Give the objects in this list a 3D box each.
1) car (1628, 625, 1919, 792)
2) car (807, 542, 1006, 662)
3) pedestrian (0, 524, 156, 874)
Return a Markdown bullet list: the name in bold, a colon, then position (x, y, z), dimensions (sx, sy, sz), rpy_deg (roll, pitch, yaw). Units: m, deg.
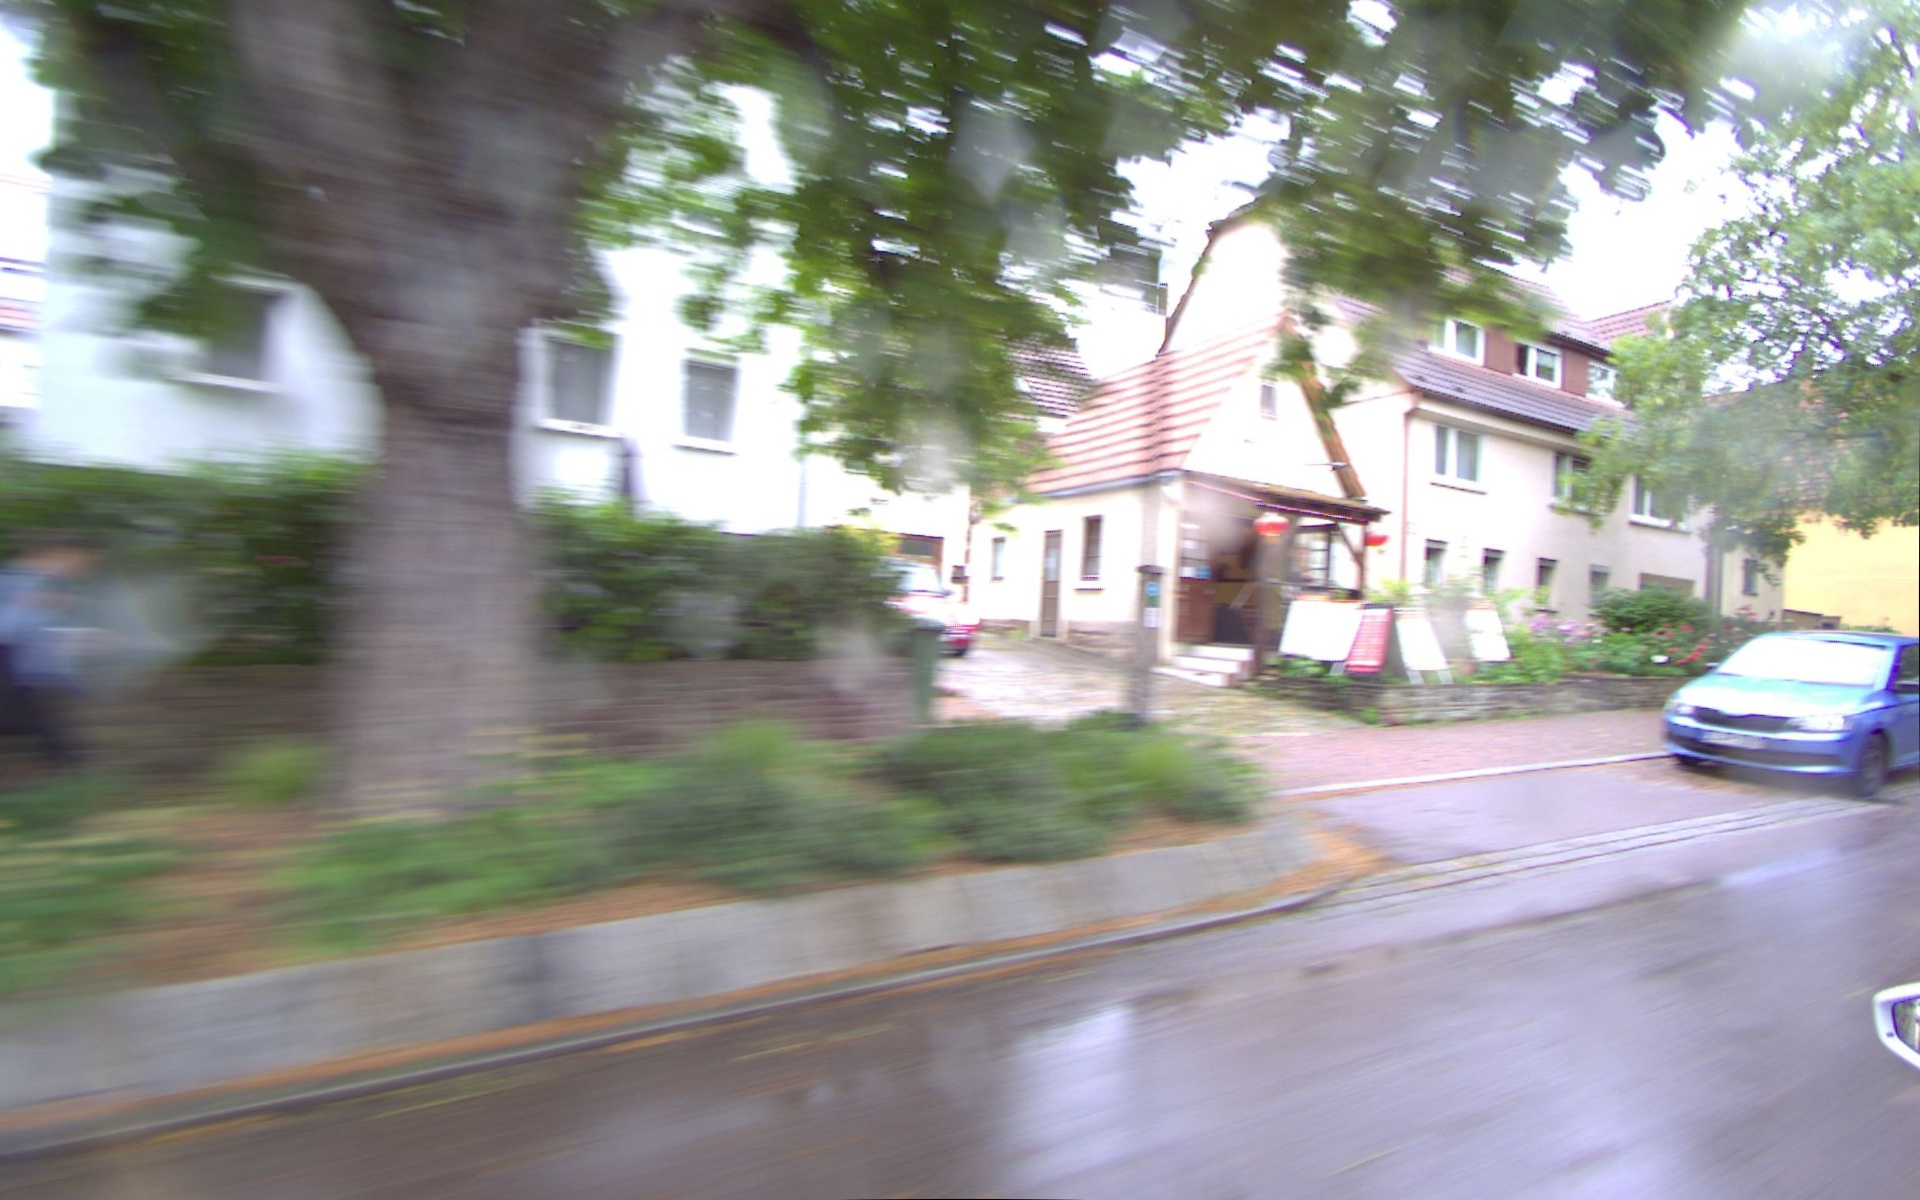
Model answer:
- **car**: position (8.938, 1.018, 10.507), dimensions (3.750, 1.414, 1.741), rpy_deg (2, 0, -30)
- **car**: position (-1.005, -0.038, 16.544), dimensions (1.867, 1.516, 3.695), rpy_deg (4, 3, -27)
- **pedestrian**: position (-4.591, 0.448, 4.900), dimensions (0.921, 1.615, 0.647), rpy_deg (1, 1, -30)
